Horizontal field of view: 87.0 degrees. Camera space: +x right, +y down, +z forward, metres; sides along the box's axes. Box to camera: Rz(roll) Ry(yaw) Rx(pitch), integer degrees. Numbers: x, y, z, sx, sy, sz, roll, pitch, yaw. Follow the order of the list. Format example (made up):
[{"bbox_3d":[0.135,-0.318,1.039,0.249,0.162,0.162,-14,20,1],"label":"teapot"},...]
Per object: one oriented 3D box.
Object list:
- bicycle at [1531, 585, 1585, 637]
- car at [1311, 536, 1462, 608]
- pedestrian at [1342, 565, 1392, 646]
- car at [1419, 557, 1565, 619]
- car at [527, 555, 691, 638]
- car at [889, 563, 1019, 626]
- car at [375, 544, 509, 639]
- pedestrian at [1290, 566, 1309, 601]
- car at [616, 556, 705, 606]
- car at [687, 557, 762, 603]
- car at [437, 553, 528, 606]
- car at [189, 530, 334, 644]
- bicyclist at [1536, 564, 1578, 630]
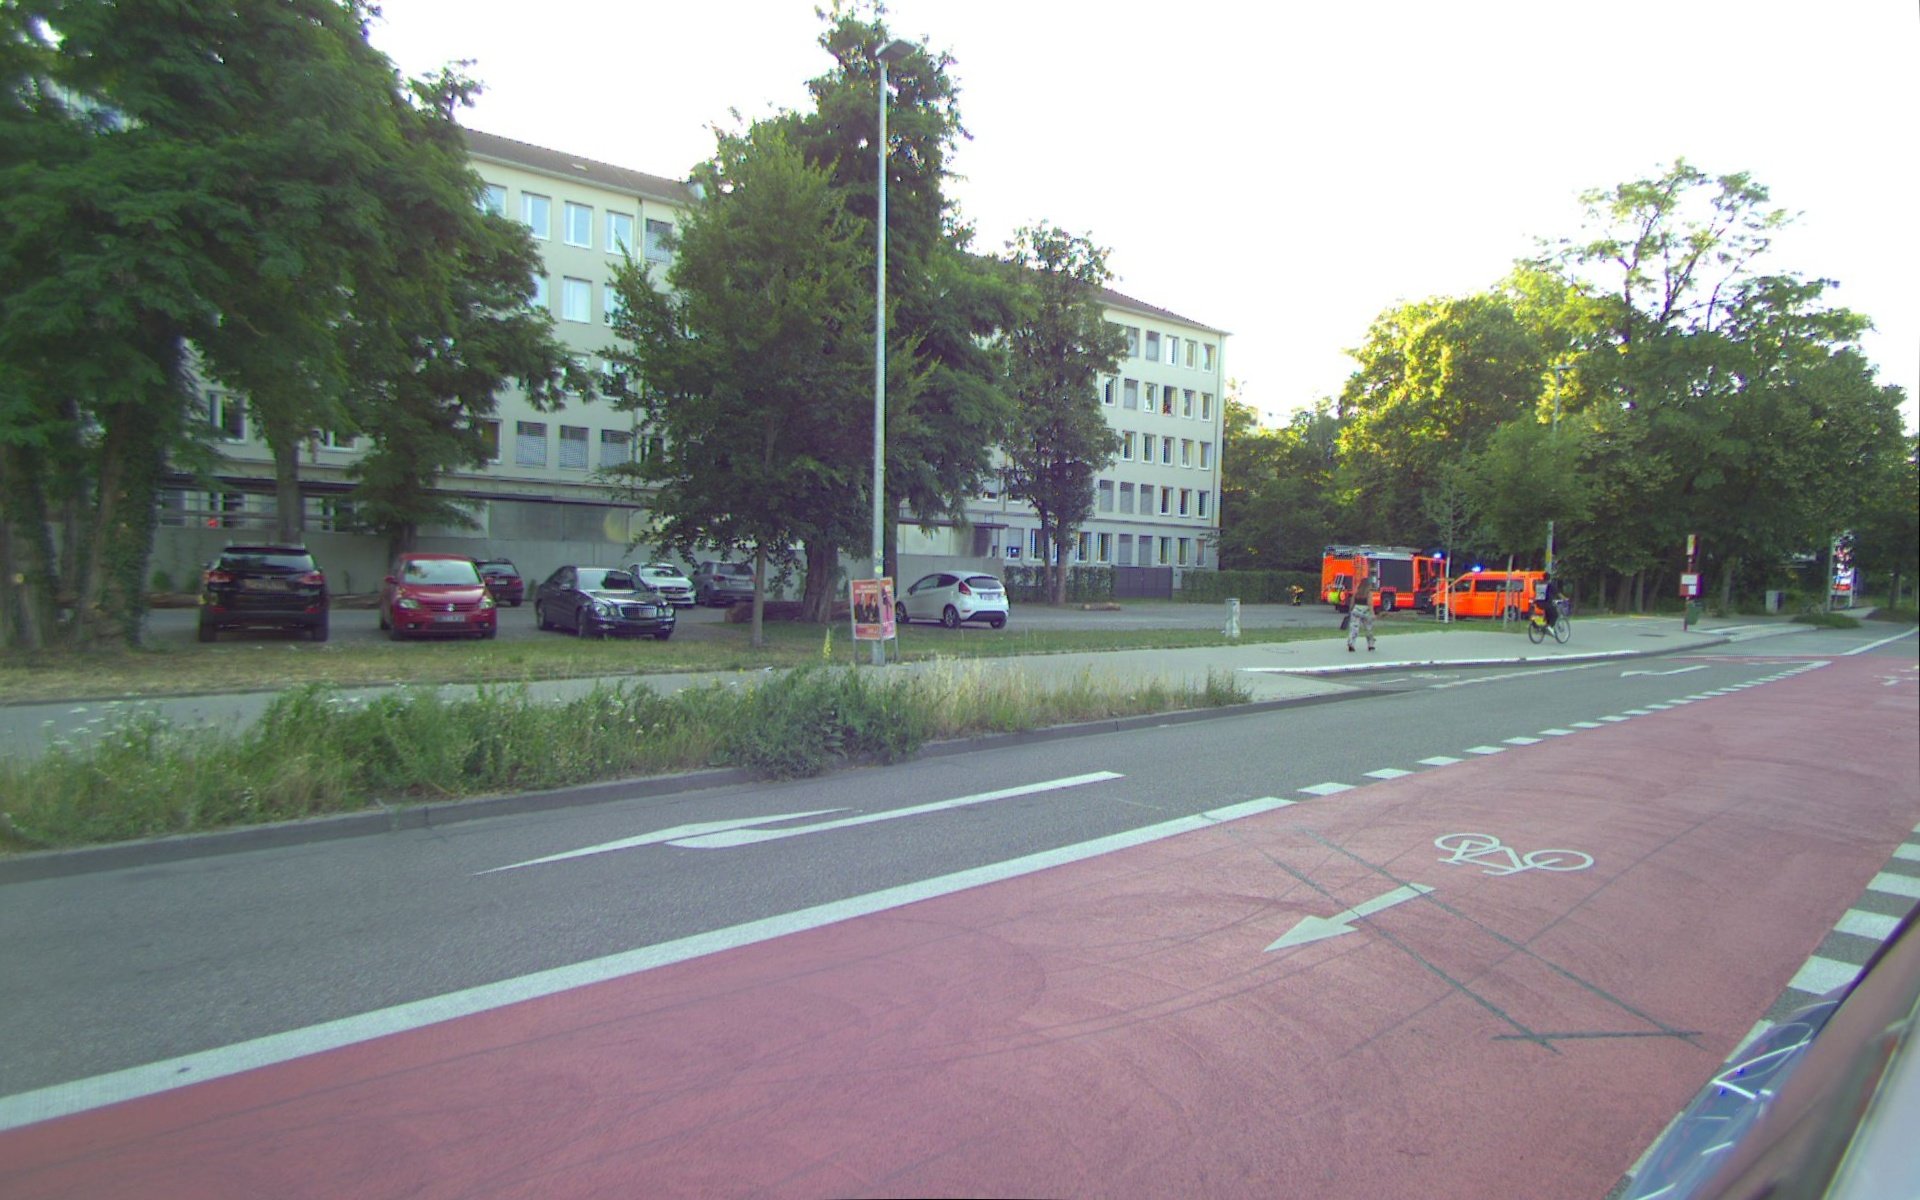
[{"bbox_3d":[15.226,0.260,25.751,1.866,1.256,0.571,0,2,-41],"label":"bicycle"},{"bbox_3d":[20.970,-1.351,49.515,8.138,3.283,2.775,0,2,-34],"label":"car"},{"bbox_3d":[8.546,0.109,21.269,0.676,1.642,0.682,1,2,-41],"label":"pedestrian"},{"bbox_3d":[22.783,-0.570,43.552,1.963,2.422,5.168,0,2,-37],"label":"car"},{"bbox_3d":[-7.383,-0.144,20.990,1.883,1.482,4.519,0,3,-37],"label":"car"},{"bbox_3d":[-0.220,-0.193,26.856,1.633,1.477,3.667,0,2,-35],"label":"car"},{"bbox_3d":[-10.108,-0.234,19.598,1.882,1.630,4.003,0,2,-33],"label":"car"},{"bbox_3d":[18.565,-0.920,55.352,0.837,1.864,0.677,3,1,26],"label":"pedestrian"},{"bbox_3d":[-10.016,-0.662,33.687,1.880,1.540,3.921,0,2,-32],"label":"car"},{"bbox_3d":[-8.200,-0.704,35.084,1.734,1.477,3.320,1,2,-27],"label":"car"},{"bbox_3d":[-14.524,-0.640,30.701,1.738,1.477,3.626,0,3,-38],"label":"car"},{"bbox_3d":[-12.290,-0.295,17.864,1.882,1.761,4.241,0,2,-35],"label":"car"},{"bbox_3d":[15.145,-0.083,25.673,1.019,1.652,0.571,0,2,-41],"label":"bicyclist"}]
